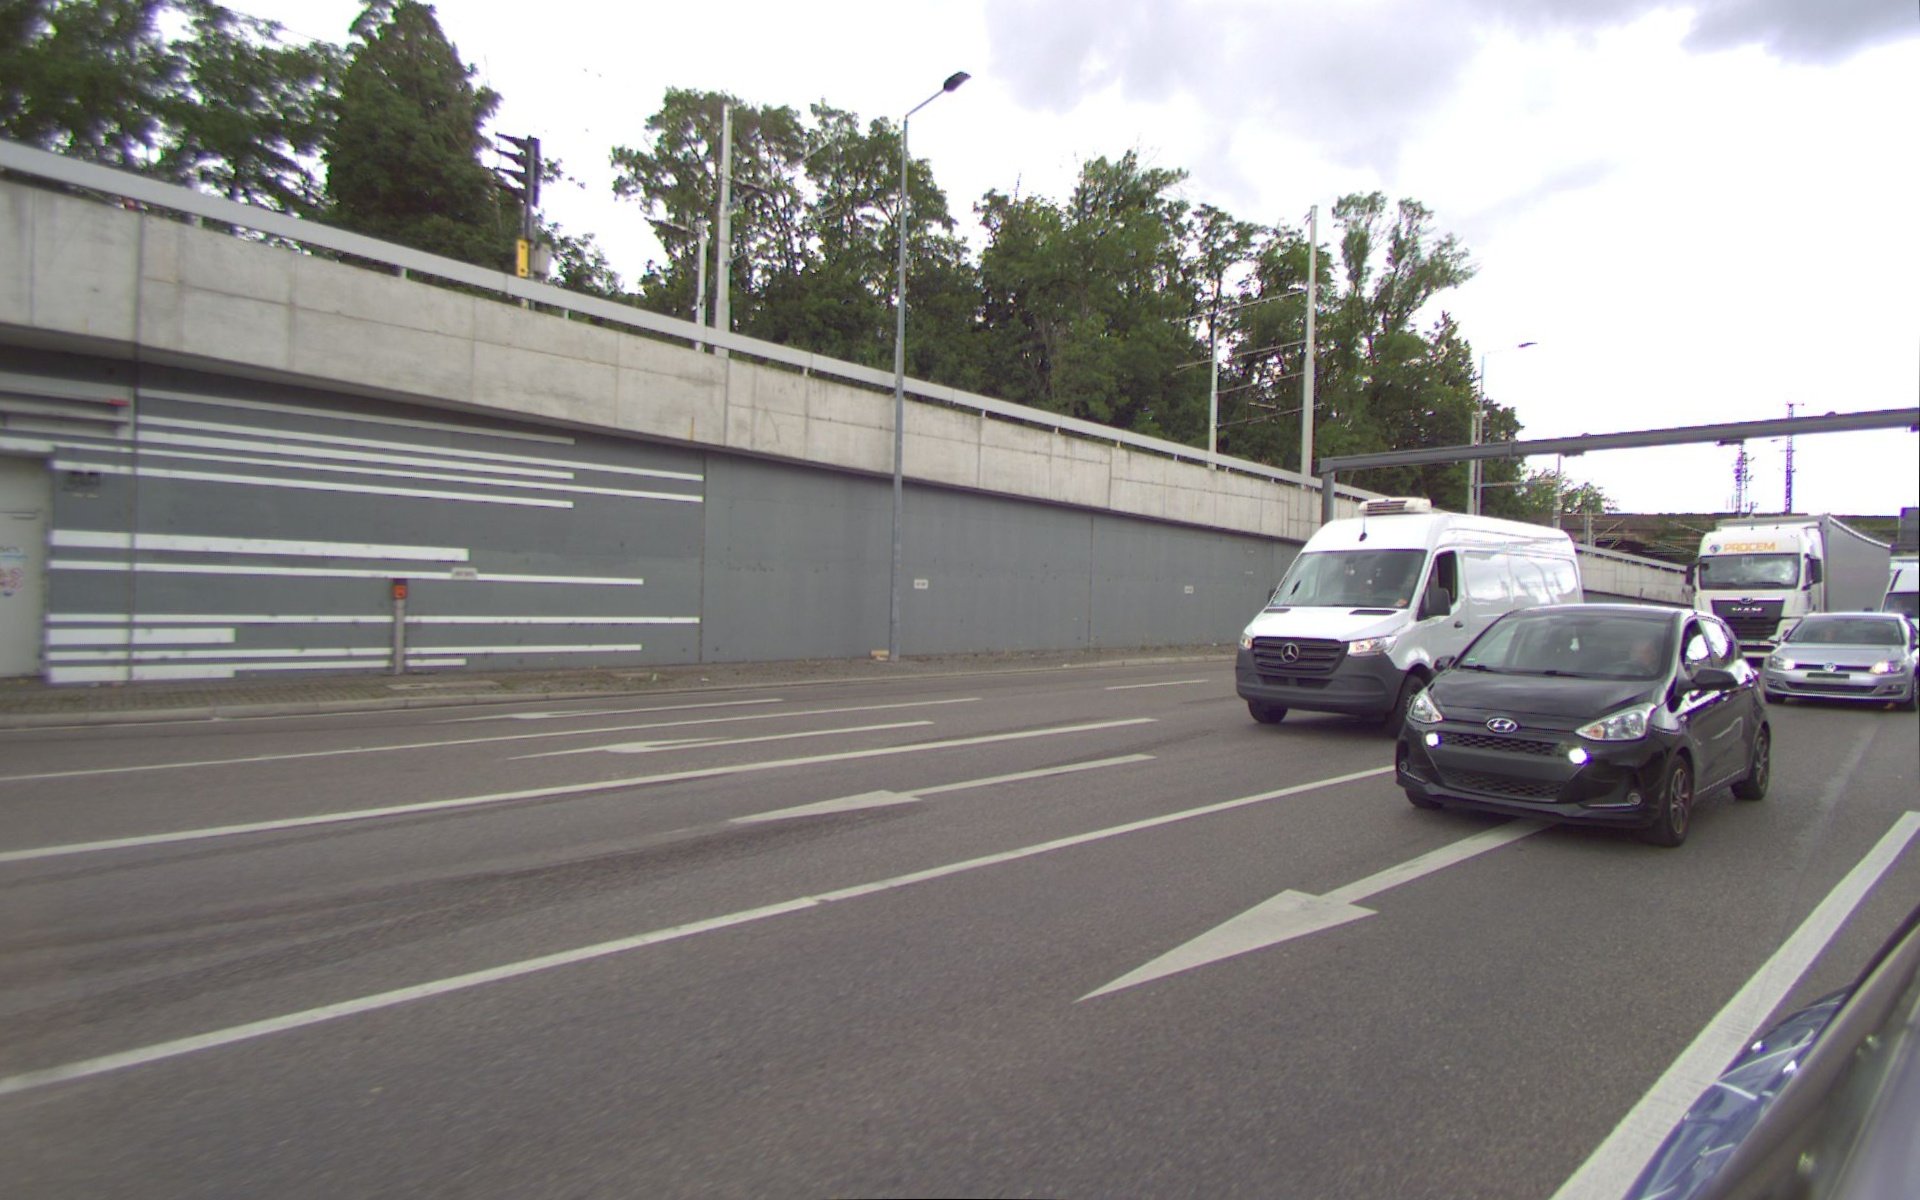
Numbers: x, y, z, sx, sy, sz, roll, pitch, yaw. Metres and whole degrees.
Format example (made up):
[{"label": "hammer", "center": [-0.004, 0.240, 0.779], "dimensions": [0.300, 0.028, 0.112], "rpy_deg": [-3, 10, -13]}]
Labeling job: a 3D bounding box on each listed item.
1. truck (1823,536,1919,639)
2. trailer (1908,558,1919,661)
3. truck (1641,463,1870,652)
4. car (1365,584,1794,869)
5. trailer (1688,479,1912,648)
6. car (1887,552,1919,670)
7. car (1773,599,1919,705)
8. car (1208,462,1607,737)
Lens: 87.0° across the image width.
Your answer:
[{"label": "truck", "center": [42.256, -0.466, 45.515], "dimensions": [10.791, 4.195, 3.730], "rpy_deg": [1, -1, -41]}, {"label": "trailer", "center": [27.245, 0.327, 27.105], "dimensions": [4.724, 2.671, 2.108], "rpy_deg": [1, 2, -40]}, {"label": "truck", "center": [22.891, -1.013, 28.984], "dimensions": [7.311, 4.691, 3.811], "rpy_deg": [1, -1, -41]}, {"label": "car", "center": [4.663, 0.673, 7.427], "dimensions": [3.628, 1.564, 1.685], "rpy_deg": [-1, 1, -41]}, {"label": "trailer", "center": [28.060, -0.960, 33.485], "dimensions": [11.901, 4.691, 3.811], "rpy_deg": [1, -1, -41]}, {"label": "car", "center": [24.103, 0.296, 24.329], "dimensions": [5.840, 2.663, 2.059], "rpy_deg": [2, -4, -43]}, {"label": "car", "center": [14.262, 0.723, 15.856], "dimensions": [3.970, 1.400, 1.766], "rpy_deg": [0, 1, -42]}, {"label": "car", "center": [6.302, 0.020, 13.533], "dimensions": [7.199, 2.808, 2.078], "rpy_deg": [1, 0, -42]}]
